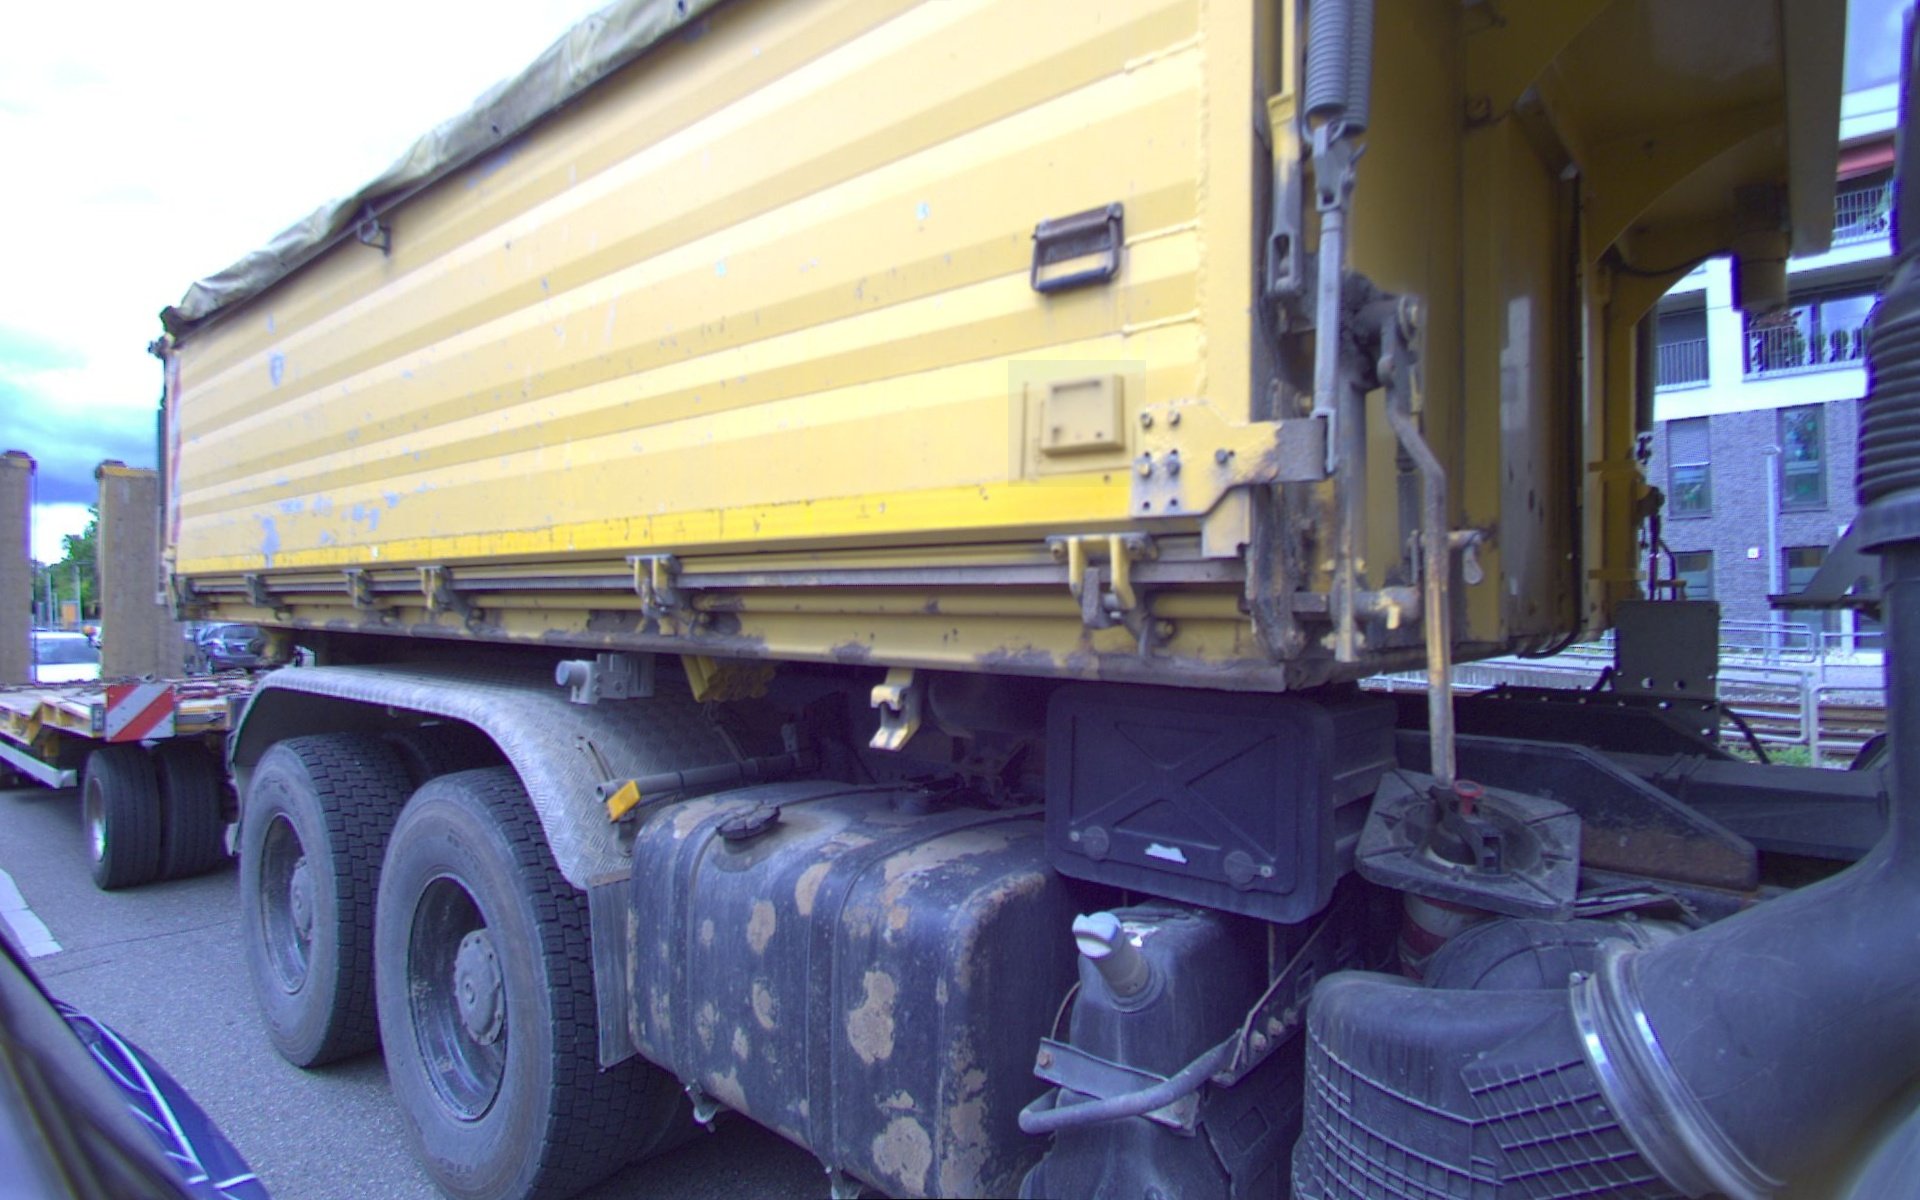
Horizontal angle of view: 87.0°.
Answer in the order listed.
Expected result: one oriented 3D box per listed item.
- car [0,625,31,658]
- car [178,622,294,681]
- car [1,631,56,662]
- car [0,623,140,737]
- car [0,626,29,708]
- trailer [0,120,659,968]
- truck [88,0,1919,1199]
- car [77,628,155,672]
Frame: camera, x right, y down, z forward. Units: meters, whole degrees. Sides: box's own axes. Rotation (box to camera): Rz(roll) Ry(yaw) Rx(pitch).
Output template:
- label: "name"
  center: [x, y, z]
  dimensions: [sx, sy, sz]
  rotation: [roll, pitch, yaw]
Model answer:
- label: "car"
  center: [-54.636, 2.381, 57.747]
  dimensions: [4.861, 1.785, 1.863]
  rotation: [-2, -1, 41]
- label: "car"
  center: [-19.987, 1.389, 27.893]
  dimensions: [4.042, 1.480, 1.758]
  rotation: [-2, -1, 42]
- label: "car"
  center: [-46.508, 2.299, 50.512]
  dimensions: [3.564, 1.469, 1.683]
  rotation: [-2, -1, 41]
- label: "car"
  center: [-14.120, 1.131, 15.582]
  dimensions: [3.998, 1.490, 1.671]
  rotation: [-1, 0, 41]
- label: "car"
  center: [-19.631, 1.286, 19.797]
  dimensions: [3.998, 1.490, 1.671]
  rotation: [-1, 0, 41]
- label: "trailer"
  center: [-6.858, -0.138, 8.852]
  dimensions: [10.909, 3.548, 2.678]
  rotation: [-2, -1, 41]
- label: "truck"
  center: [0.159, -0.044, 2.684]
  dimensions: [7.775, 3.026, 2.692]
  rotation: [-1, 0, 41]
- label: "car"
  center: [-31.021, 1.798, 37.165]
  dimensions: [4.279, 1.452, 1.742]
  rotation: [-2, -1, 44]
